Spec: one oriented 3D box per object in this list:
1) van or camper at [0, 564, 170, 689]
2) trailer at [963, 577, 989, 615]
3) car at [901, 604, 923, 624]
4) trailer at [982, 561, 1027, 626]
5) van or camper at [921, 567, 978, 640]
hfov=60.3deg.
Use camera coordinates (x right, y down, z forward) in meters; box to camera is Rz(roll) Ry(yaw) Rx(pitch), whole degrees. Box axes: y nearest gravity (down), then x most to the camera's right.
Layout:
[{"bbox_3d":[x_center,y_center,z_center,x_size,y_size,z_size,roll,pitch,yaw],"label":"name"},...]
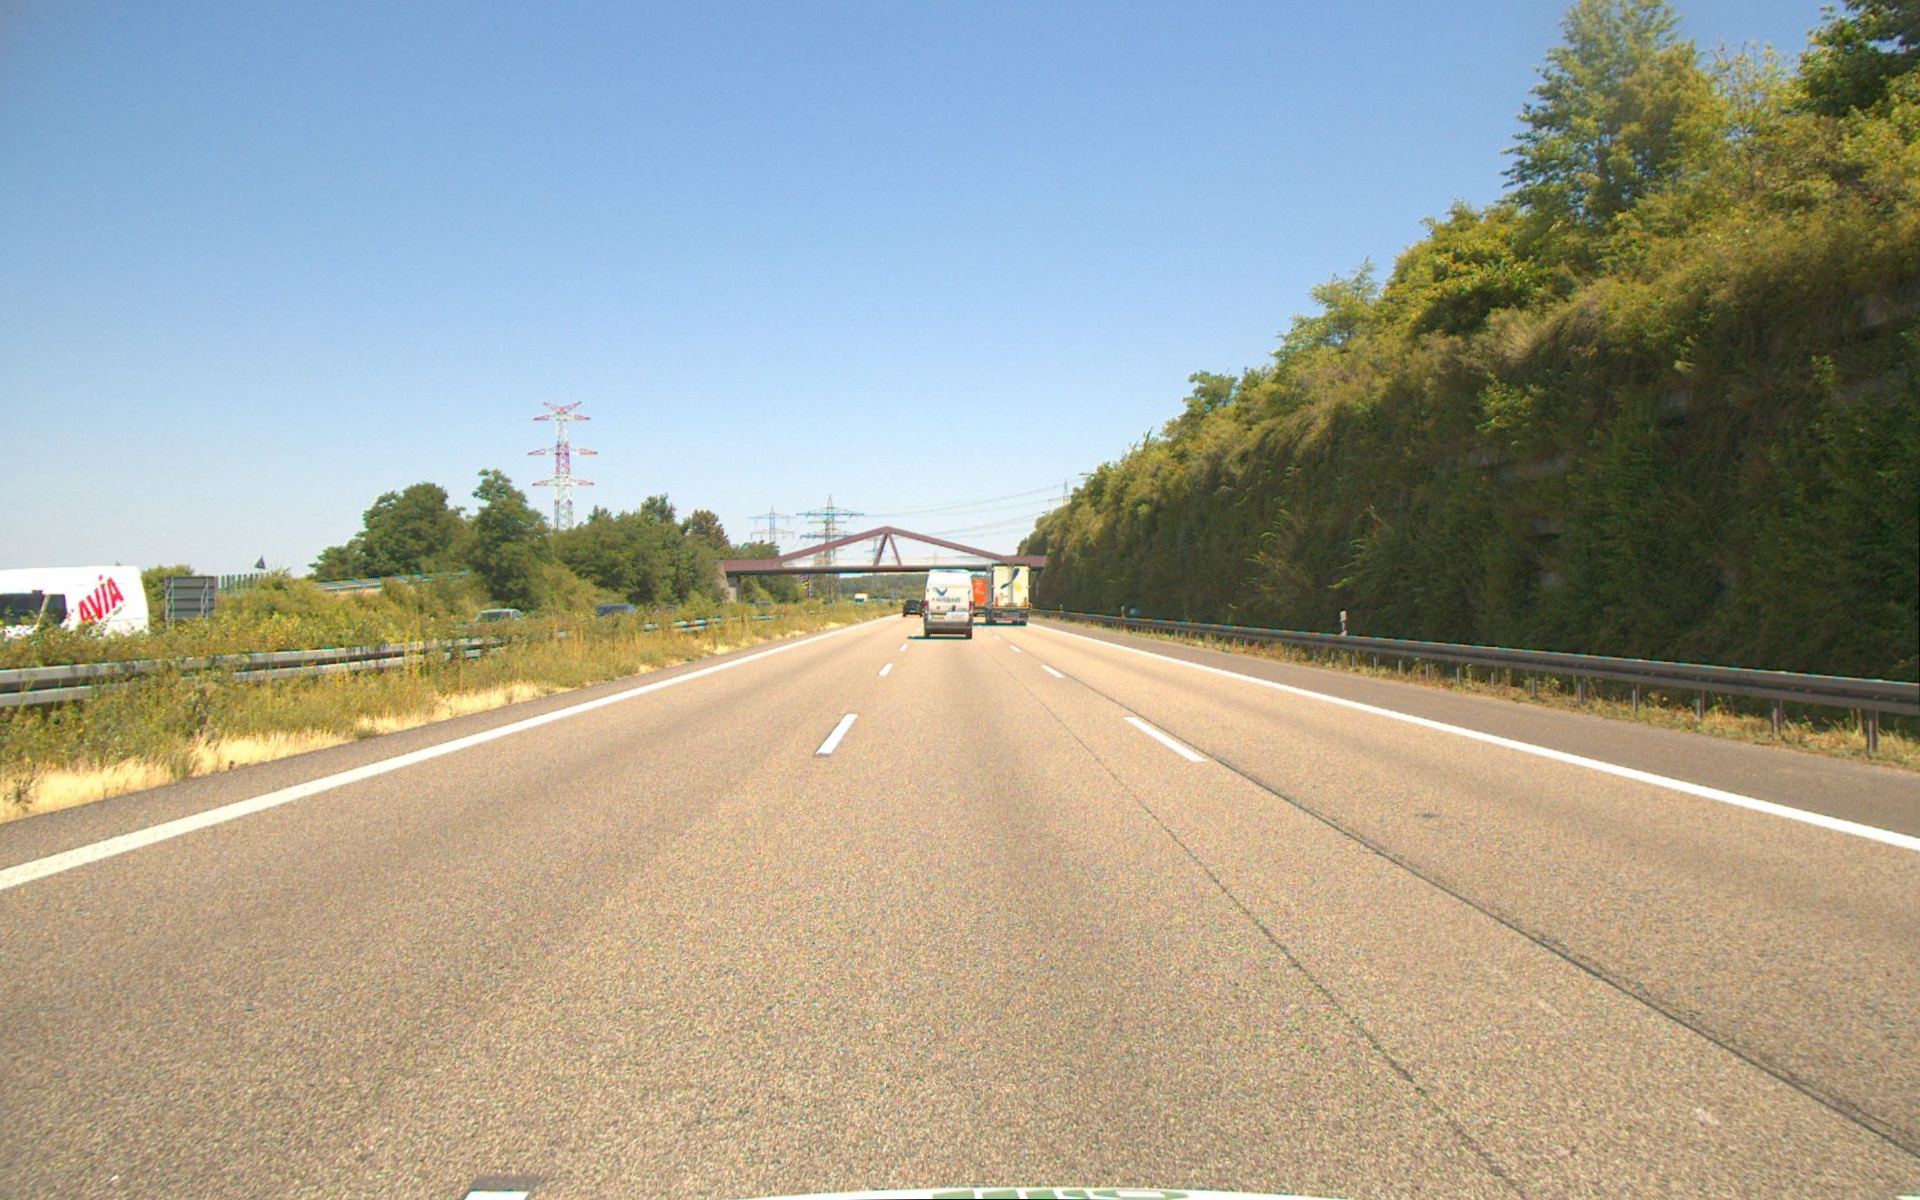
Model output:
[{"bbox_3d":[-20.443,0.528,37.453,2.017,2.569,6.388,1,0,-1],"label":"van or camper"},{"bbox_3d":[1.686,-0.434,178.244,2.583,3.965,7.068,1,0,0],"label":"trailer"},{"bbox_3d":[-4.651,1.336,162.143,1.941,1.849,3.813,1,0,1],"label":"car"},{"bbox_3d":[2.986,-0.433,113.808,2.583,4.131,12.365,1,0,0],"label":"trailer"},{"bbox_3d":[-0.461,0.136,68.823,2.185,2.831,5.421,1,0,-1],"label":"van or camper"}]
